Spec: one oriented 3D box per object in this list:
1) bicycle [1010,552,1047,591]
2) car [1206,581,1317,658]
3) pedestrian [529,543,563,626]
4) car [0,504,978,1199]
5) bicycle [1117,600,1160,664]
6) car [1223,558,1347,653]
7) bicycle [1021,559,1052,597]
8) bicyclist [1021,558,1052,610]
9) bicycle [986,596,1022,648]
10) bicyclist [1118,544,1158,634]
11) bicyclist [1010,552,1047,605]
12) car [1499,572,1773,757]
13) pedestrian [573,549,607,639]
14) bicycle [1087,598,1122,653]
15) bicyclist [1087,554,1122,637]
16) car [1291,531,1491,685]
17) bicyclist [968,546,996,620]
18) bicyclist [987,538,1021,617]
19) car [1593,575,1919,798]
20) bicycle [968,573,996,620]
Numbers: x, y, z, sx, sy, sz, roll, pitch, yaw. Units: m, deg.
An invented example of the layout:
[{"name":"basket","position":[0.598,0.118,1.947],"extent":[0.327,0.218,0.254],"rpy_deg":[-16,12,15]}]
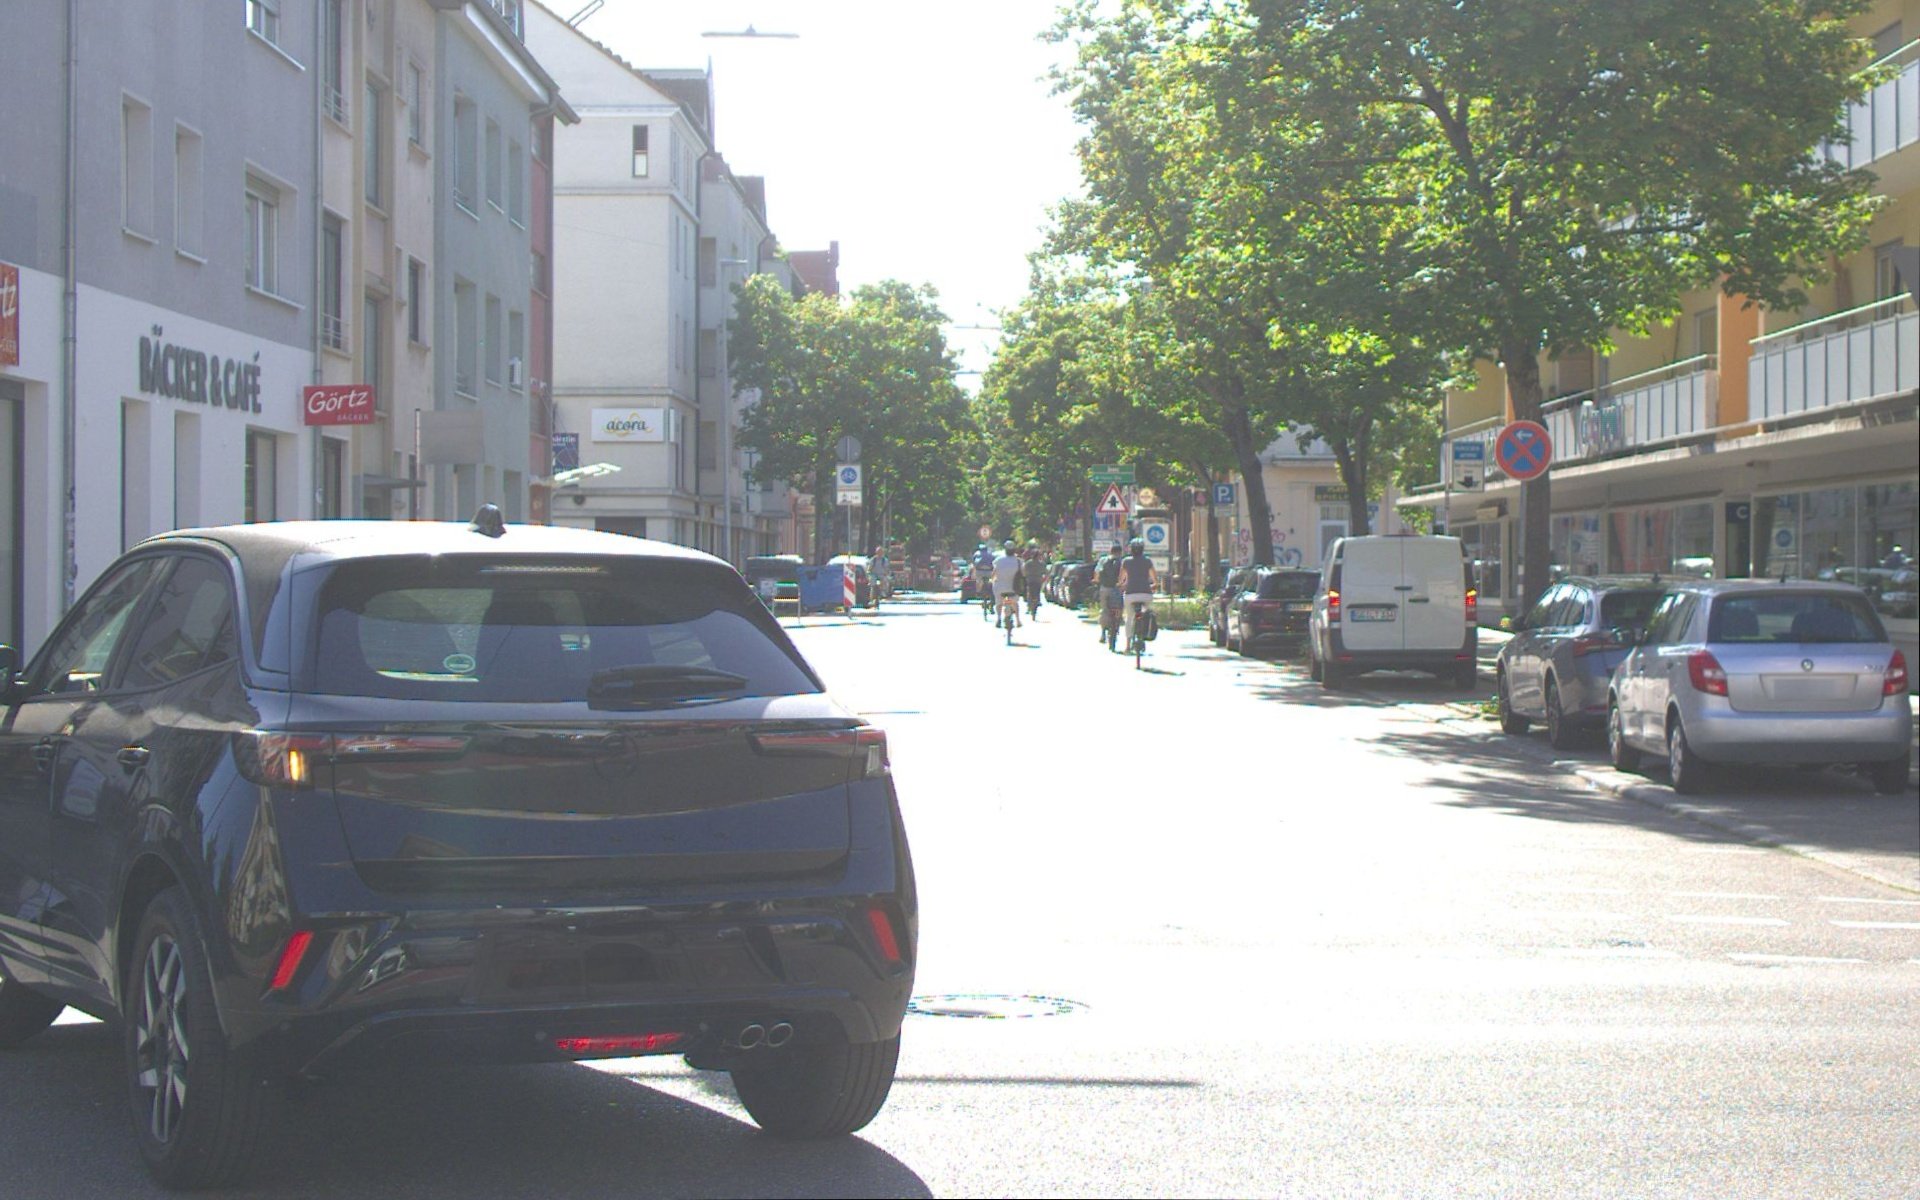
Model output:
[{"name":"bicycle","position":[1.756,-0.739,87.924],"extent":[0.856,0.942,2.307],"rpy_deg":[3,1,0]},{"name":"car","position":[5.387,0.338,61.799],"extent":[1.712,1.310,3.381],"rpy_deg":[0,1,0]},{"name":"pedestrian","position":[-7.338,-0.274,60.917],"extent":[0.577,1.462,0.703],"rpy_deg":[0,1,-5]},{"name":"car","position":[-1.639,0.563,9.226],"extent":[1.762,1.553,4.001],"rpy_deg":[0,0,-26]},{"name":"bicycle","position":[2.517,0.449,48.700],"extent":[0.547,0.863,1.876],"rpy_deg":[0,1,1]},{"name":"car","position":[5.263,0.070,56.031],"extent":[1.712,1.478,3.381],"rpy_deg":[0,1,0]},{"name":"bicycle","position":[1.752,-0.506,78.660],"extent":[0.691,0.863,1.876],"rpy_deg":[0,1,1]},{"name":"bicyclist","position":[1.749,-0.371,78.662],"extent":[0.692,1.189,0.595],"rpy_deg":[0,1,1]},{"name":"bicycle","position":[0.774,0.380,60.311],"extent":[0.620,0.863,1.876],"rpy_deg":[0,1,1]},{"name":"bicyclist","position":[2.521,-0.163,48.737],"extent":[0.547,1.257,0.803],"rpy_deg":[0,1,1]},{"name":"bicyclist","position":[1.753,-0.560,87.906],"extent":[0.856,1.310,1.210],"rpy_deg":[3,1,0]},{"name":"car","position":[5.761,0.513,29.653],"extent":[1.712,1.478,3.381],"rpy_deg":[0,1,0]},{"name":"pedestrian","position":[-6.527,-0.116,60.644],"extent":[0.577,1.577,0.708],"rpy_deg":[0,1,-5]},{"name":"bicycle","position":[2.402,0.421,57.243],"extent":[0.547,0.863,1.876],"rpy_deg":[0,1,1]},{"name":"bicyclist","position":[2.397,-0.081,57.089],"extent":[0.547,1.378,0.823],"rpy_deg":[0,1,1]},{"name":"car","position":[5.401,0.065,43.637],"extent":[2.046,1.840,4.584],"rpy_deg":[0,1,1]},{"name":"bicyclist","position":[0.501,-0.396,78.103],"extent":[0.632,1.663,1.050],"rpy_deg":[0,1,0]},{"name":"bicyclist","position":[0.779,-0.393,60.337],"extent":[0.588,1.378,0.823],"rpy_deg":[0,1,1]},{"name":"car","position":[5.790,0.577,25.089],"extent":[1.712,1.478,3.480],"rpy_deg":[0,1,0]},{"name":"bicycle","position":[0.497,-0.080,78.445],"extent":[0.632,1.038,1.795],"rpy_deg":[0,1,0]}]
